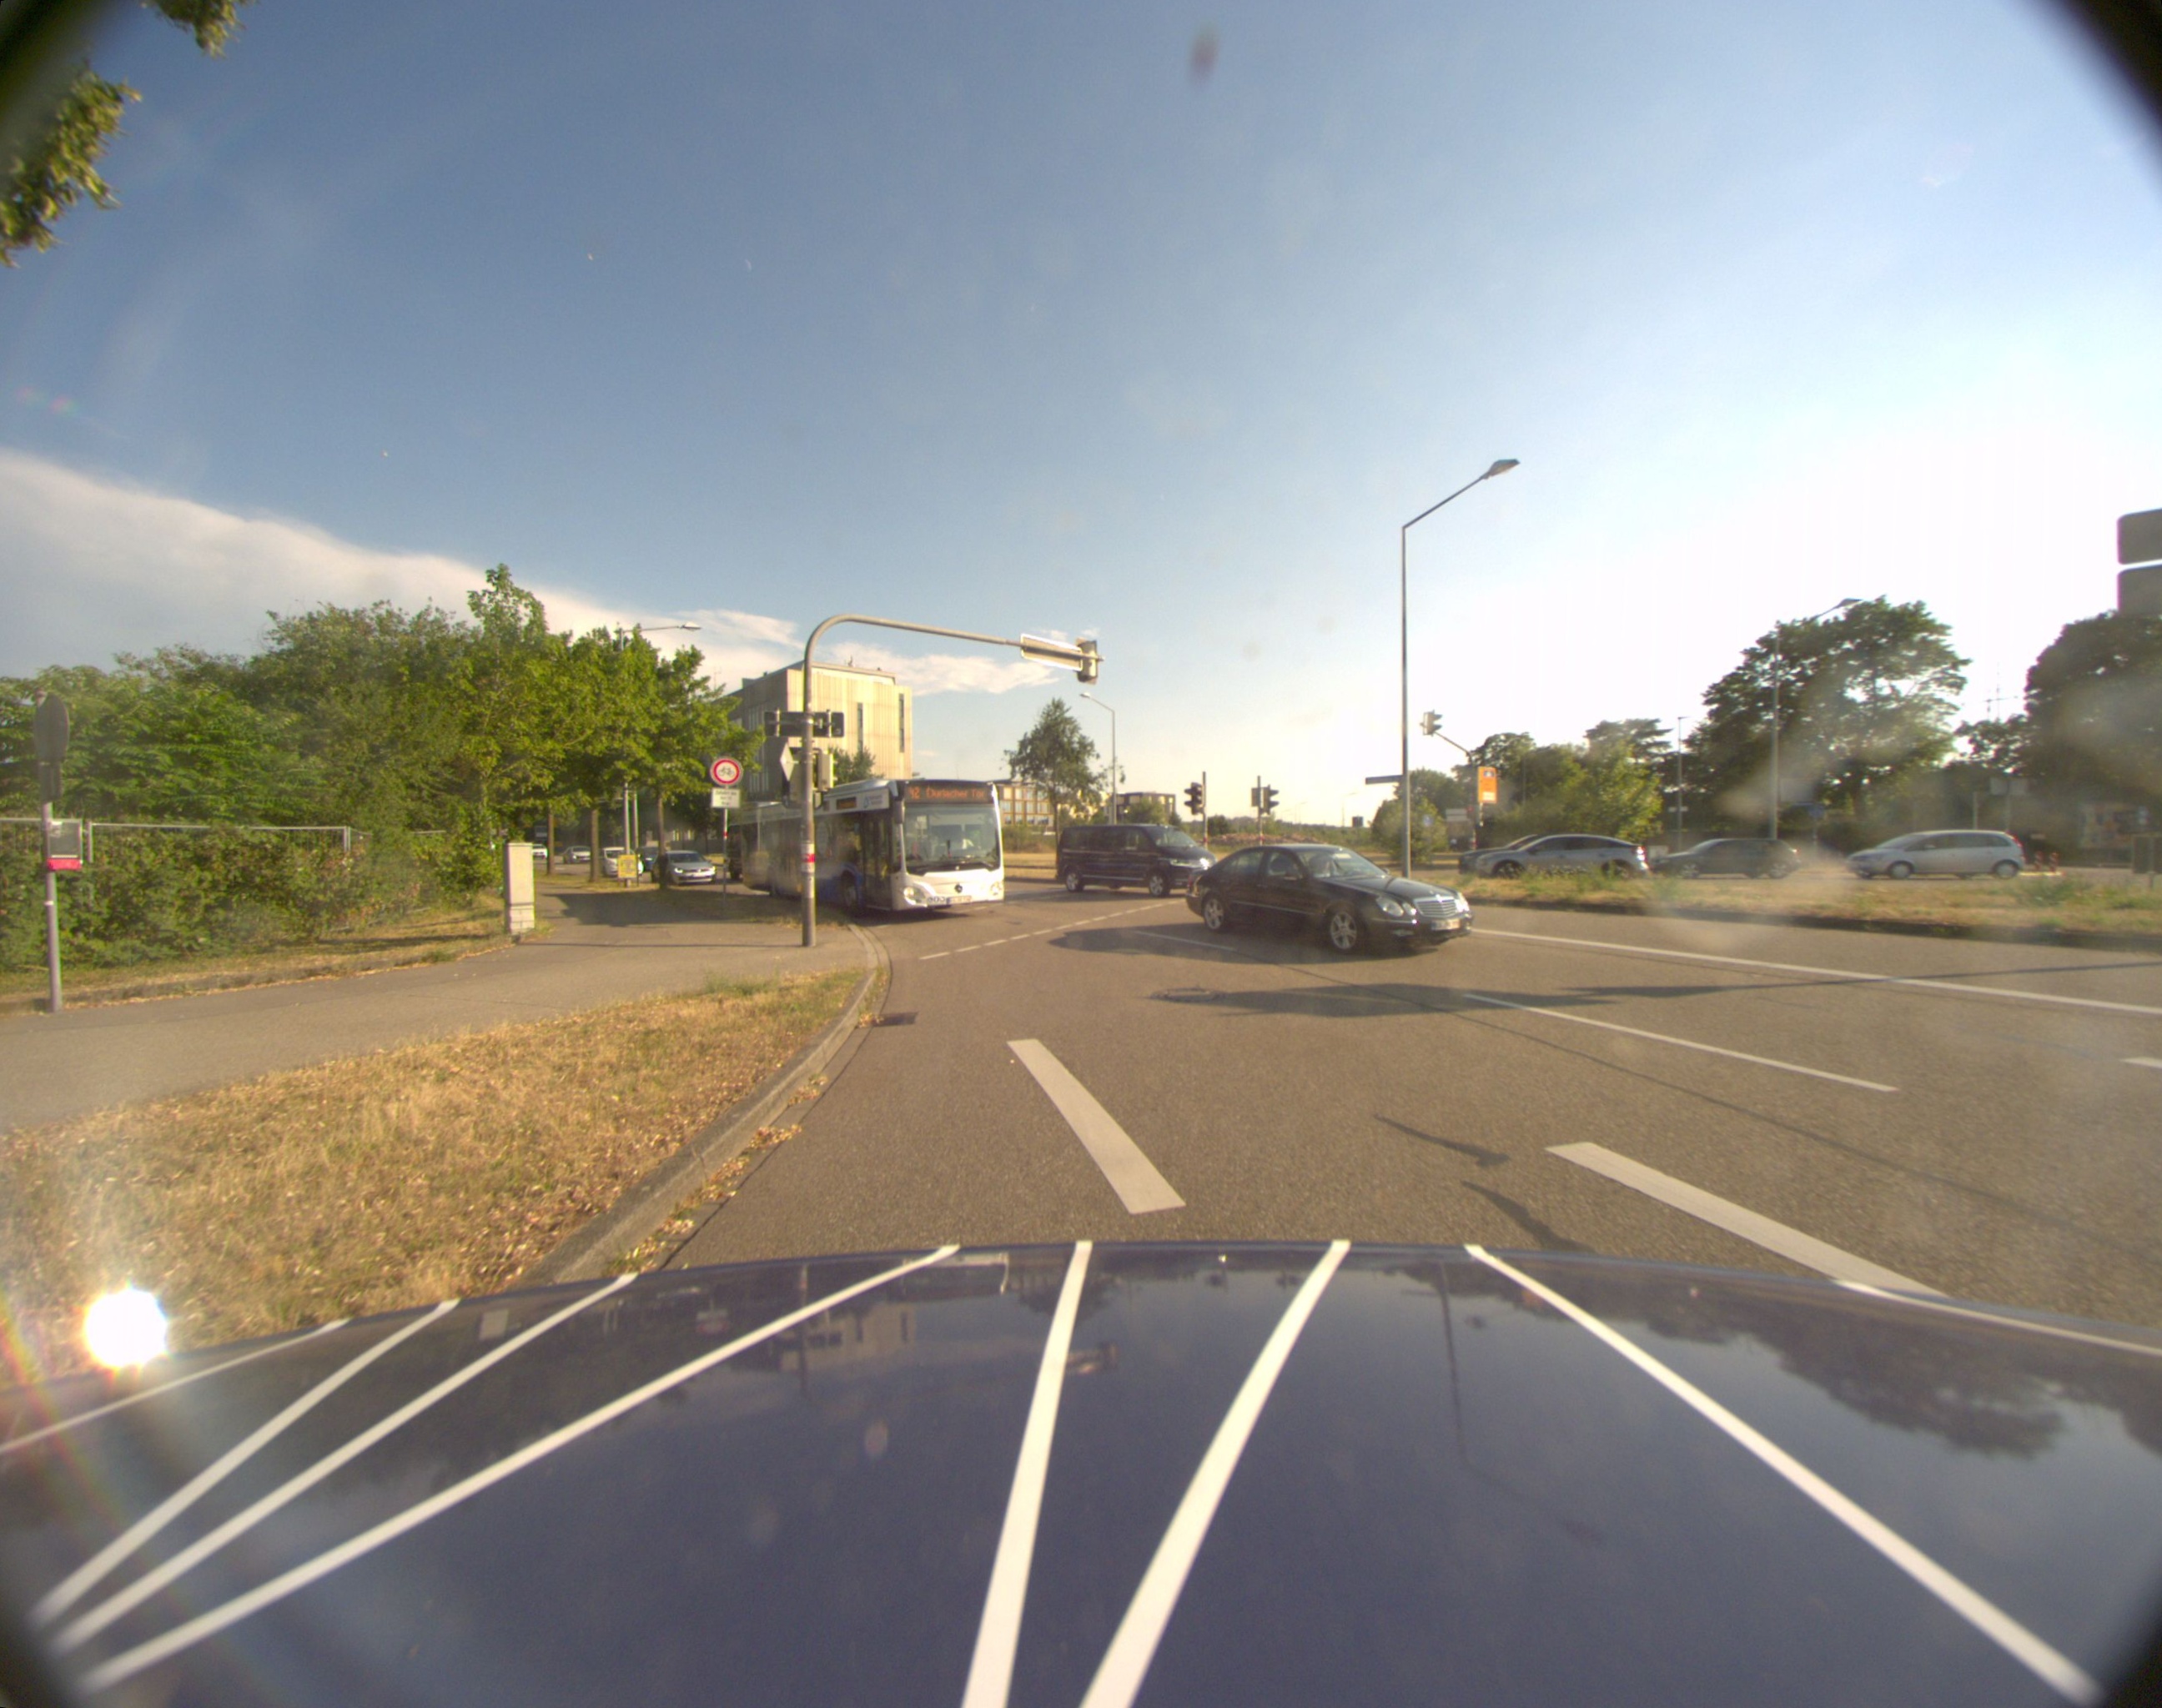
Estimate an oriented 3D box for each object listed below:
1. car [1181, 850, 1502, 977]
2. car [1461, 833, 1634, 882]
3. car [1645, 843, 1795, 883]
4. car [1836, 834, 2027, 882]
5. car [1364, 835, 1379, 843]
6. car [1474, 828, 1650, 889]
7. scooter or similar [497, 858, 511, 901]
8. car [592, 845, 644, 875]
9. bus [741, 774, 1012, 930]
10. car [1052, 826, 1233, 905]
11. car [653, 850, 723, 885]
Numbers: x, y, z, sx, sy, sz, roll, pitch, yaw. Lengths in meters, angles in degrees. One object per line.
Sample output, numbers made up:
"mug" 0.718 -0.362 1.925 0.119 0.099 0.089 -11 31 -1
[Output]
"car" 3.550 0.688 11.311 1.814 1.428 4.482 -1 1 -28
"car" 15.237 0.112 25.113 4.633 1.504 1.655 0 1 22
"car" 22.717 0.300 27.170 3.822 1.342 1.483 0 2 19
"car" 28.244 0.107 25.387 3.935 1.516 1.658 0 1 17
"car" 45.799 -2.312 119.928 1.336 1.284 2.804 -1 1 0
"car" 13.983 0.125 22.407 4.189 1.664 1.779 0 1 26
"scooter or similar" -15.812 0.691 20.816 0.250 1.119 1.092 2 0 -39
"car" -25.261 0.288 41.398 3.616 1.553 1.589 1 2 45
"bus" -6.091 -0.146 20.129 2.601 3.026 11.686 -3 3 -37
"car" 1.583 0.227 21.207 1.865 1.921 4.998 -4 4 -44
"car" -16.861 0.533 32.518 3.616 1.415 1.589 1 2 45
